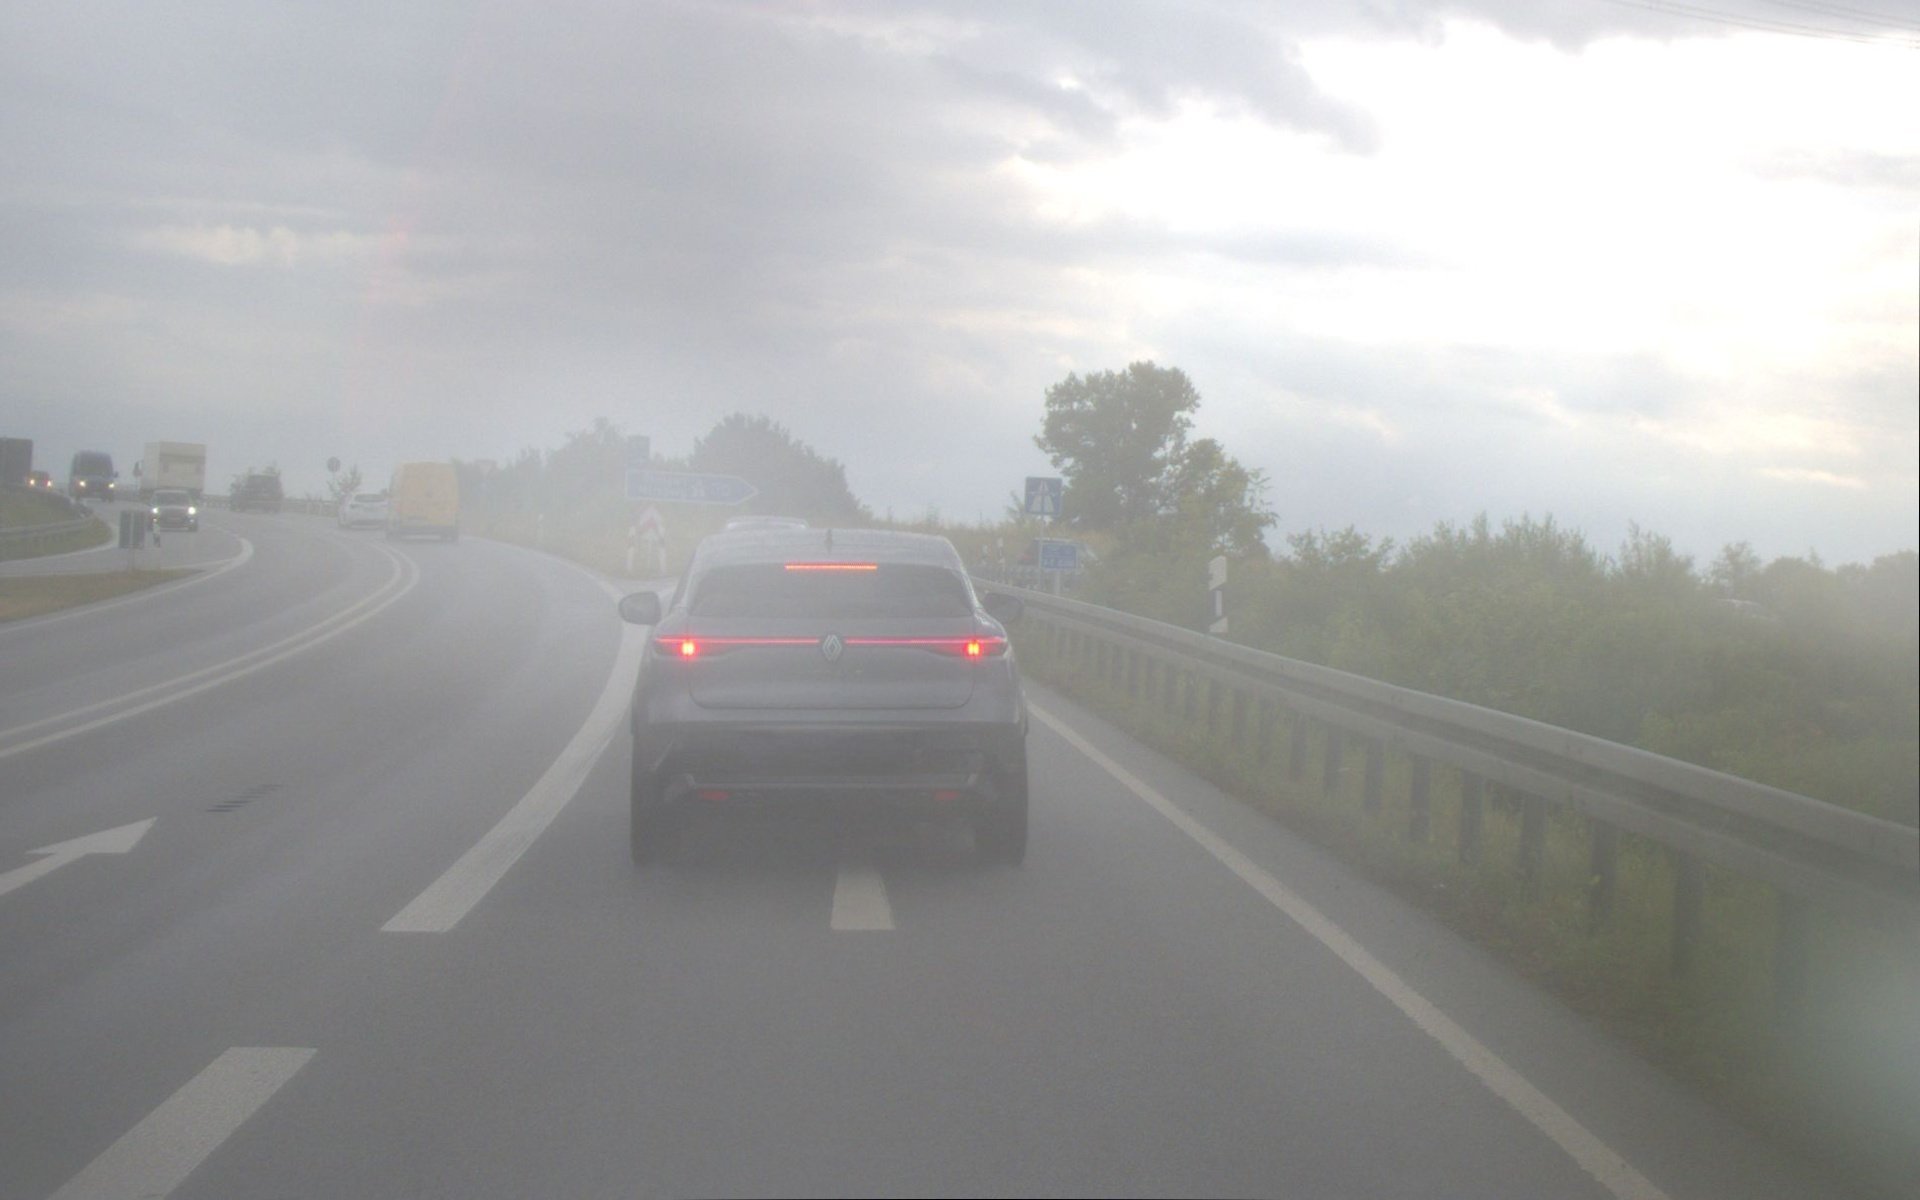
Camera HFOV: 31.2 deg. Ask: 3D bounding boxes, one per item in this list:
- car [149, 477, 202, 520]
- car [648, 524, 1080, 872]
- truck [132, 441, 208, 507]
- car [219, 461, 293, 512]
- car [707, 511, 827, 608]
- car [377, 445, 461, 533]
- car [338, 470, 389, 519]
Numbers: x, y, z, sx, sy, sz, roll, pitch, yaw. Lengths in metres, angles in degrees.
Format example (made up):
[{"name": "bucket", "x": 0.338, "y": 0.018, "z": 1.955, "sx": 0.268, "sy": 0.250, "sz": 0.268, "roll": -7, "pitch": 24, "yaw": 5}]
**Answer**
[{"name": "car", "x": -27.975, "y": -3.623, "z": 122.628, "sx": 1.744, "sy": 1.361, "sz": 4.051, "roll": -2, "pitch": 0, "yaw": -12}, {"name": "car", "x": -0.508, "y": 0.401, "z": 16.411, "sx": 1.791, "sy": 1.436, "sz": 4.000, "roll": 1, "pitch": 0, "yaw": -3}, {"name": "truck", "x": -45.038, "y": -7.126, "z": 195.779, "sx": 3.045, "sy": 3.373, "sz": 7.646, "roll": 2, "pitch": -1, "yaw": -22}, {"name": "car", "x": -34.671, "y": -5.555, "z": 169.193, "sx": 2.601, "sy": 2.243, "sz": 5.536, "roll": 2, "pitch": -1, "yaw": -22}, {"name": "car", "x": -3.020, "y": -0.610, "z": 54.340, "sx": 1.791, "sy": 1.436, "sz": 4.000, "roll": 1, "pitch": 0, "yaw": -2}, {"name": "car", "x": -17.382, "y": -3.573, "z": 110.522, "sx": 2.572, "sy": 2.716, "sz": 7.198, "roll": 0, "pitch": 2, "yaw": -9}, {"name": "car", "x": -22.464, "y": -3.959, "z": 129.508, "sx": 1.791, "sy": 1.682, "sz": 4.001, "roll": 1, "pitch": -1, "yaw": -9}]
